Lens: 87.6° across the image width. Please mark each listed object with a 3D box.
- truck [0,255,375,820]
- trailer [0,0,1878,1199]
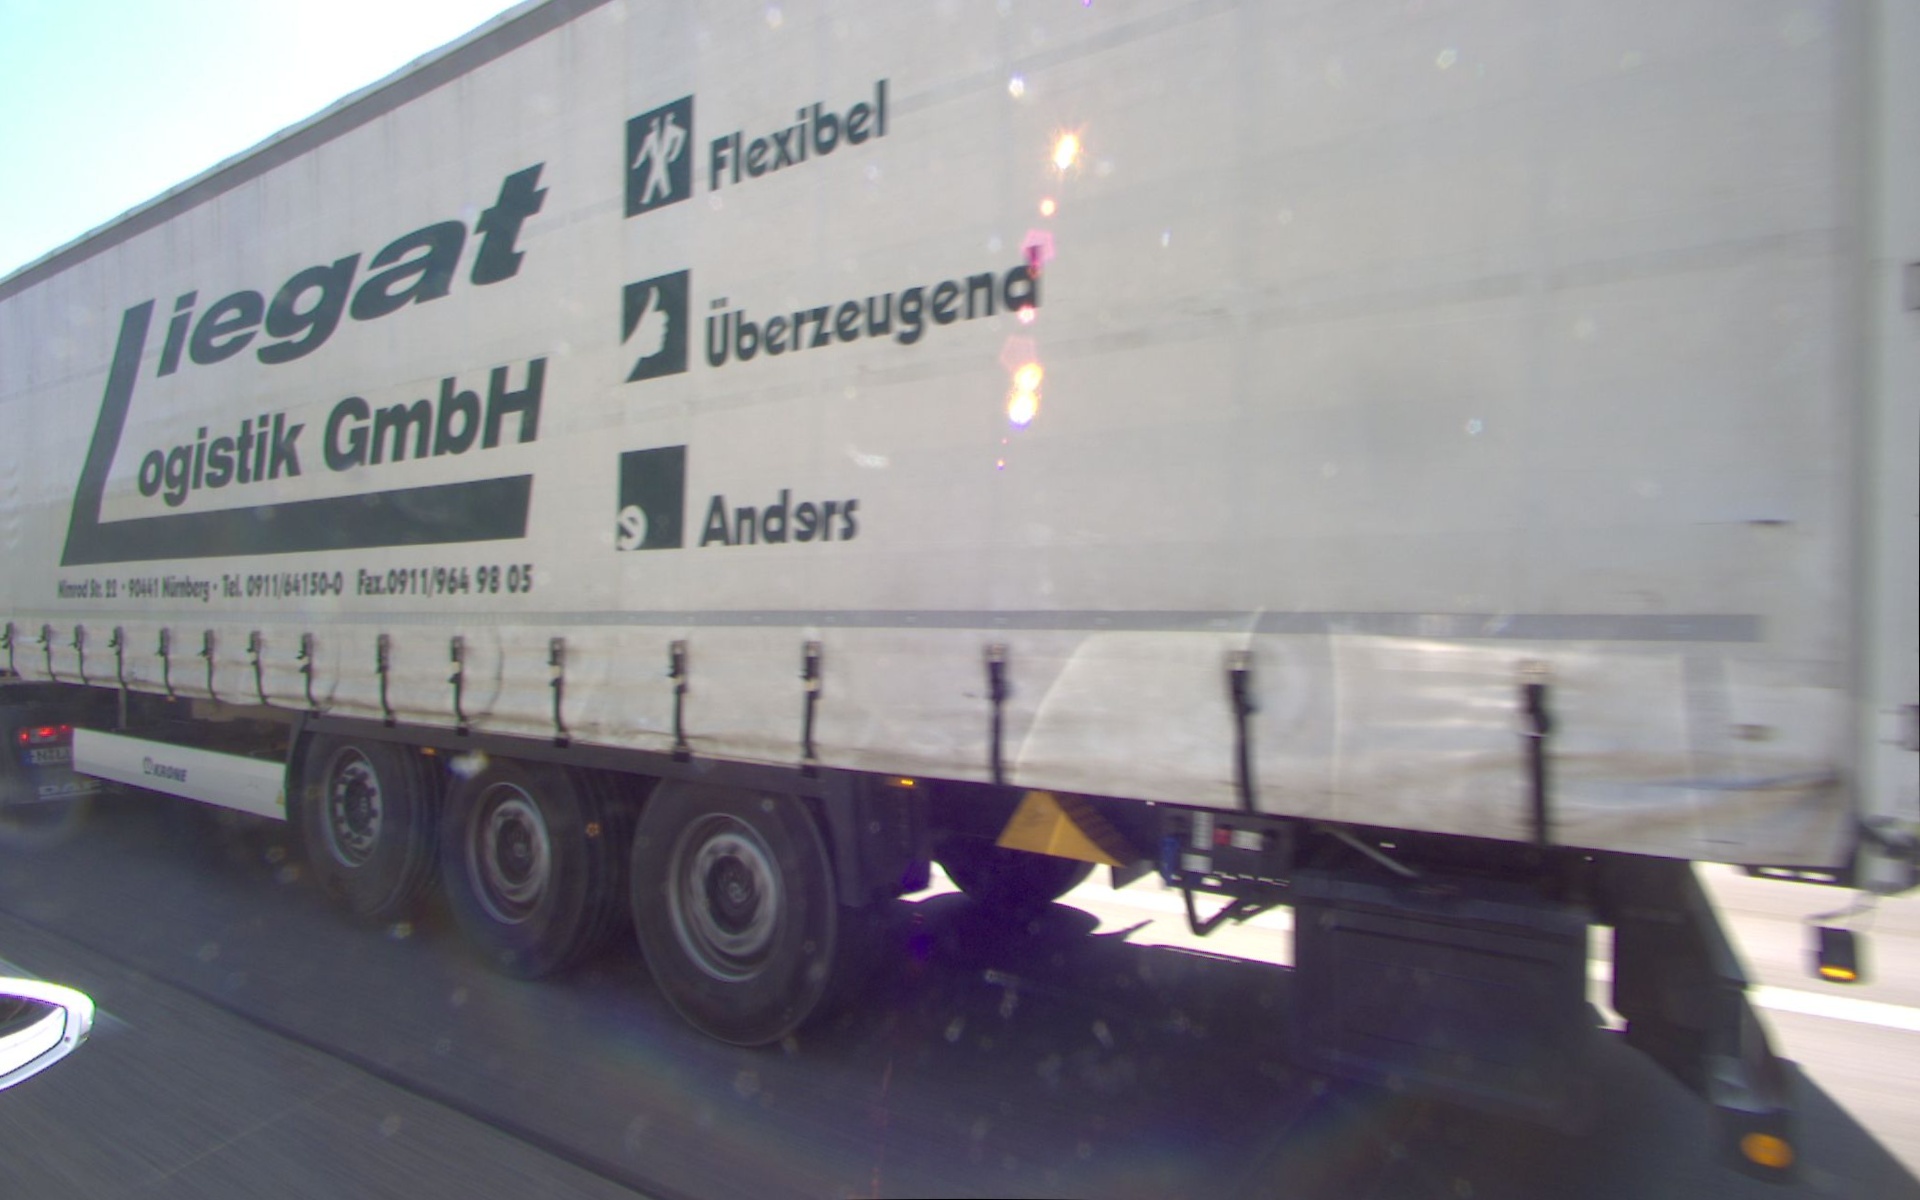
[{"bbox_3d":[-8.998,-0.434,10.241,5.784,4.259,2.781,1,-1,32],"label":"truck"},{"bbox_3d":[-3.133,-0.429,6.494,13.052,4.259,2.781,0,-1,32],"label":"trailer"}]
